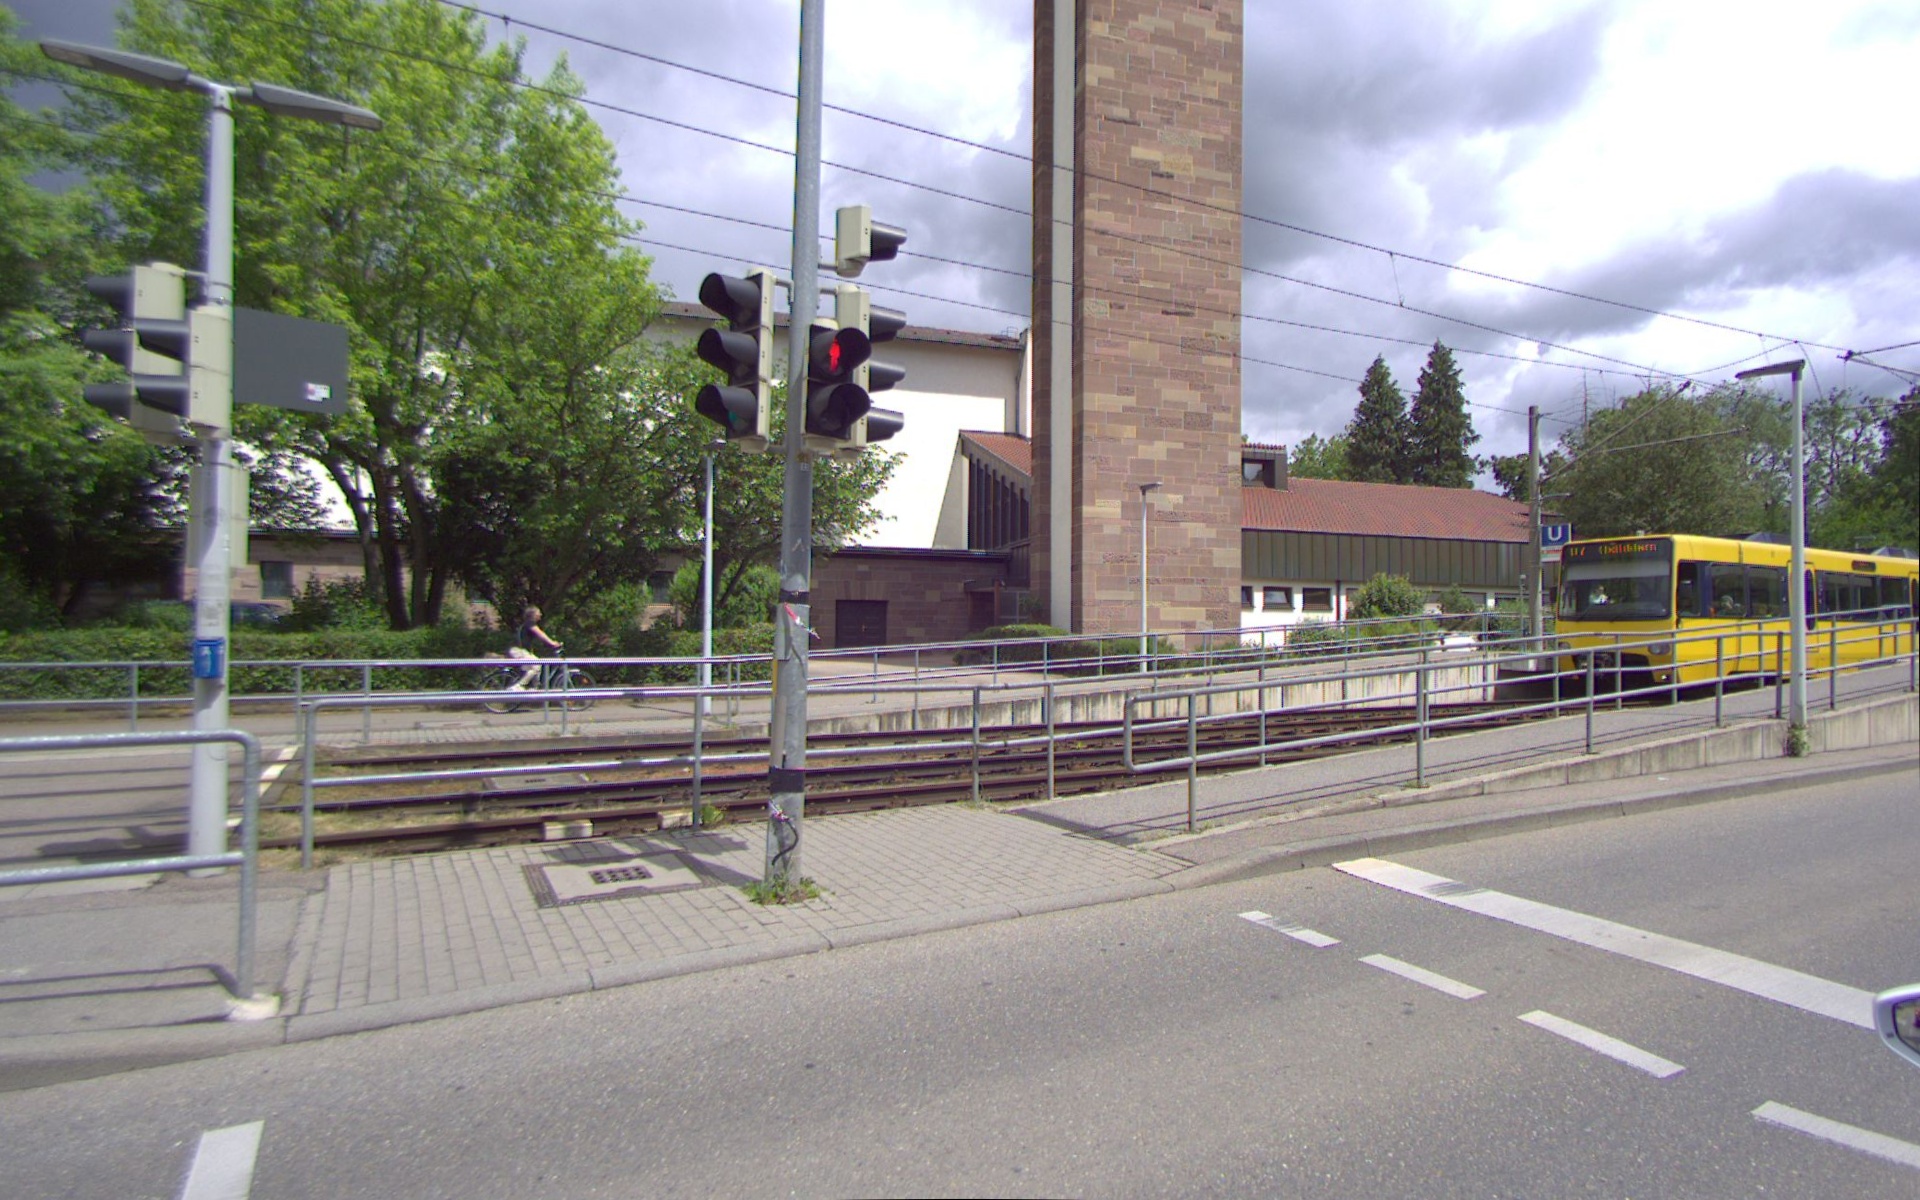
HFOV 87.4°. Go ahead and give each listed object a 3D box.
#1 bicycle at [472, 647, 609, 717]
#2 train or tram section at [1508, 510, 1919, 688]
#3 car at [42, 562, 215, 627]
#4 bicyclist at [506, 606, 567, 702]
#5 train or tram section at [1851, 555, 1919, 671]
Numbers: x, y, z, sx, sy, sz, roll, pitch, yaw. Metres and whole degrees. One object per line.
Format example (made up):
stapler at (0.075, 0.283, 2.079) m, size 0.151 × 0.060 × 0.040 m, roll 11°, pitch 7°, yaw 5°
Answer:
bicycle at (-6.551, 1.257, 15.718) m, size 1.906 × 1.007 × 0.634 m, roll 1°, pitch 0°, yaw -30°
train or tram section at (21.066, 0.180, 25.865) m, size 18.606 × 3.511 × 3.093 m, roll 2°, pitch 0°, yaw -31°
car at (-27.659, -0.131, 33.579) m, size 3.936 × 2.040 × 1.993 m, roll 1°, pitch -1°, yaw -18°
bicyclist at (-6.606, 0.829, 15.676) m, size 0.781 × 1.448 × 0.630 m, roll 1°, pitch 0°, yaw -30°
train or tram section at (37.205, 0.610, 35.377) m, size 18.774 × 3.511 × 3.093 m, roll 2°, pitch 0°, yaw -31°
